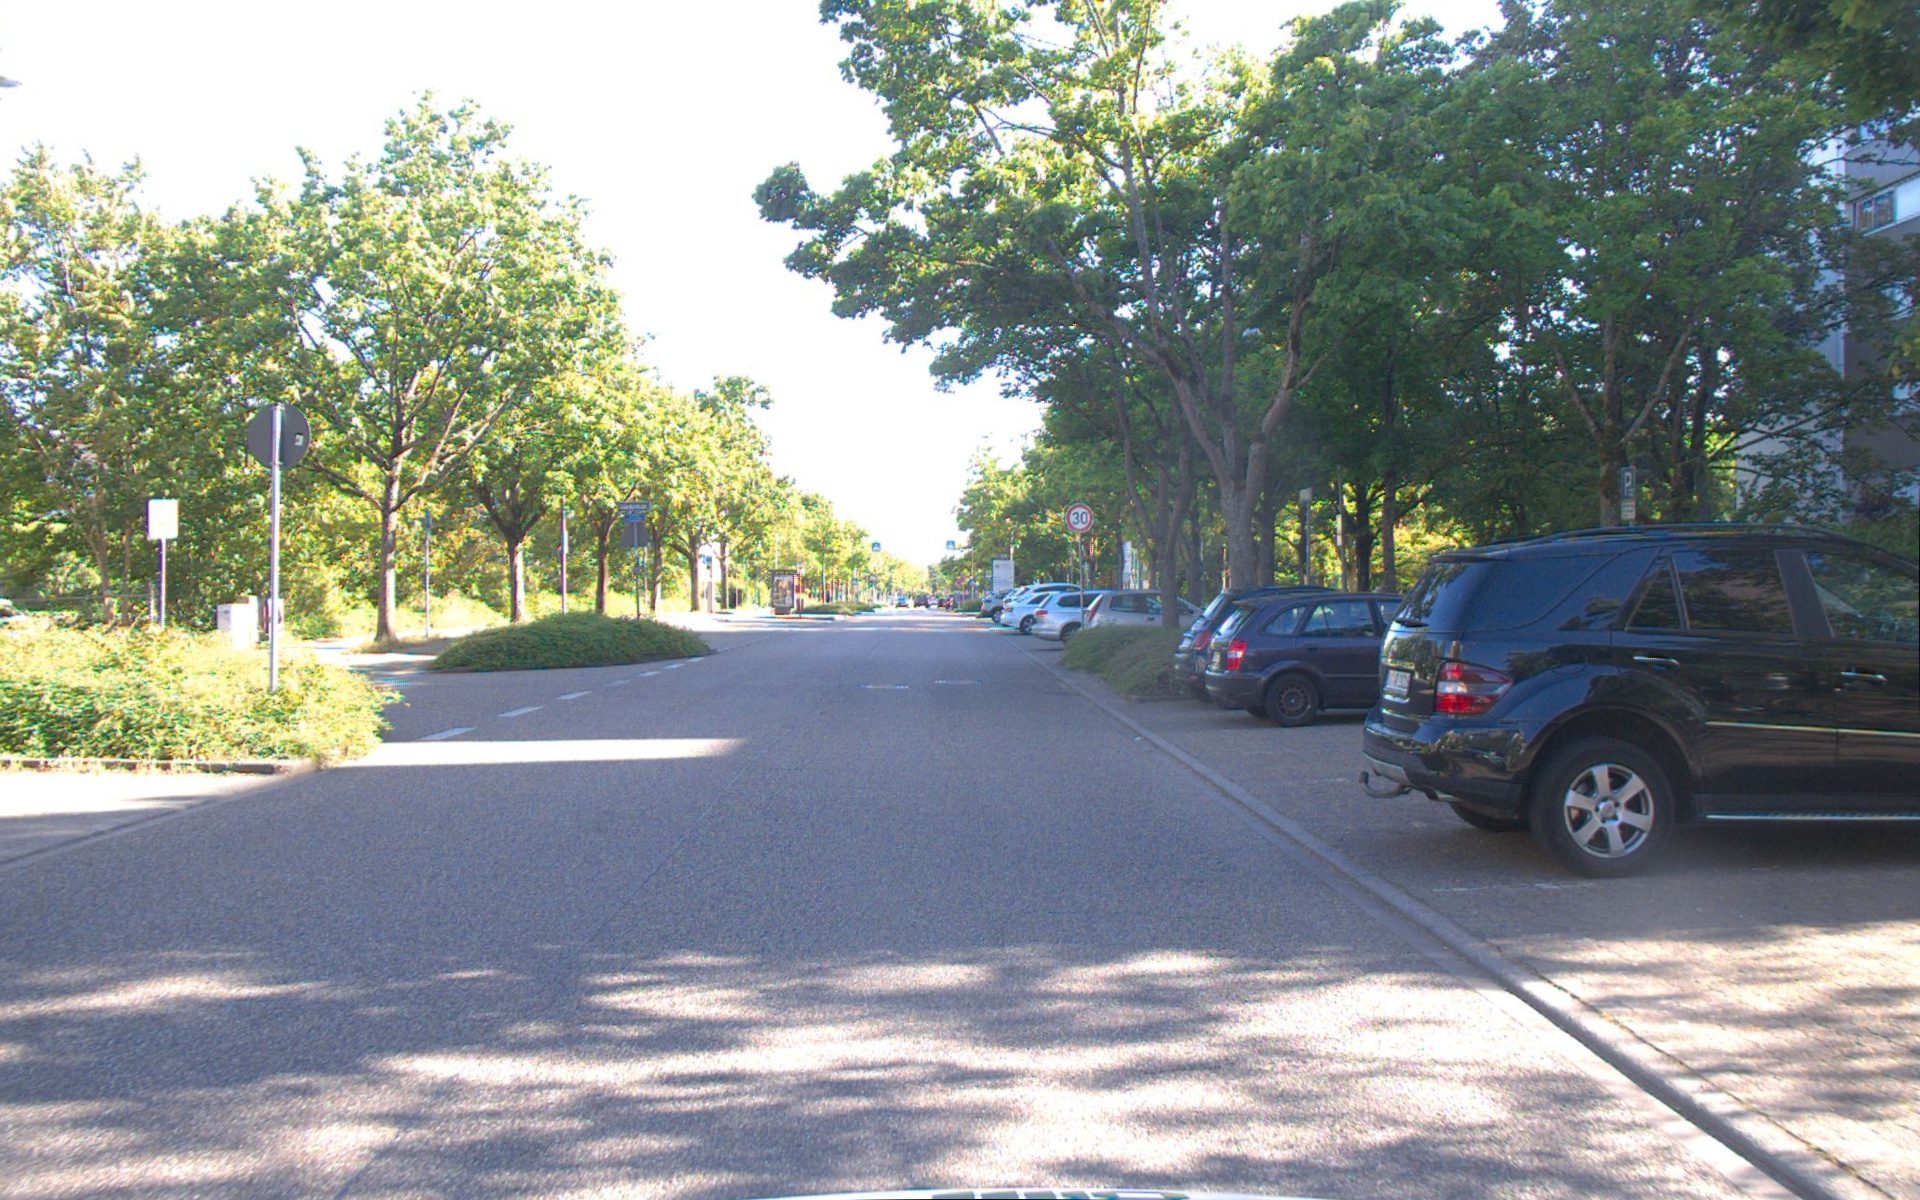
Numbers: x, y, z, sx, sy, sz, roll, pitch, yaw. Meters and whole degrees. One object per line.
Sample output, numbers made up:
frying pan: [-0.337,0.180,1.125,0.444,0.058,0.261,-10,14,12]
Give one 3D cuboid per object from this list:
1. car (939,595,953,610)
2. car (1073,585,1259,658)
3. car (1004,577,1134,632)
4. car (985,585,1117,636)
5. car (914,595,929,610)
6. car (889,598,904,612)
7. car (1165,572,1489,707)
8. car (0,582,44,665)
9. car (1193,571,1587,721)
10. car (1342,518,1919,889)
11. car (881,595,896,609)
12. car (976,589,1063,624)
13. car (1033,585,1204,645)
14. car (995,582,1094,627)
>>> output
car: [-2.005,0.360,232.966,1.953,2.049,3.999,1,0,-1]
car: [4.569,0.454,37.001,3.906,1.476,1.717,-2,0,-1]
car: [3.806,0.141,58.415,4.347,1.676,1.815,-3,1,-3]
car: [3.042,0.336,55.698,4.256,1.515,1.737,-2,0,-3]
car: [-5.393,0.389,230.662,1.953,2.049,3.999,1,0,-1]
car: [-8.195,0.614,213.429,1.791,1.806,3.739,1,0,-1]
car: [4.673,0.478,21.376,3.734,1.525,1.700,-2,0,-4]
car: [-19.051,0.478,29.924,3.993,1.476,1.625,-2,0,0]
car: [4.733,0.482,18.595,3.906,1.411,1.822,-3,0,-1]
car: [4.674,0.489,9.407,4.494,1.810,2.000,-2,0,-1]
car: [-10.143,0.288,235.140,1.953,1.833,3.999,1,0,-1]
car: [2.850,0.301,80.061,4.080,1.453,2.000,-3,0,-1]
car: [3.964,0.370,41.734,4.185,1.453,1.828,0,0,3]
car: [3.221,0.167,63.320,3.615,1.549,1.650,-3,1,-3]
